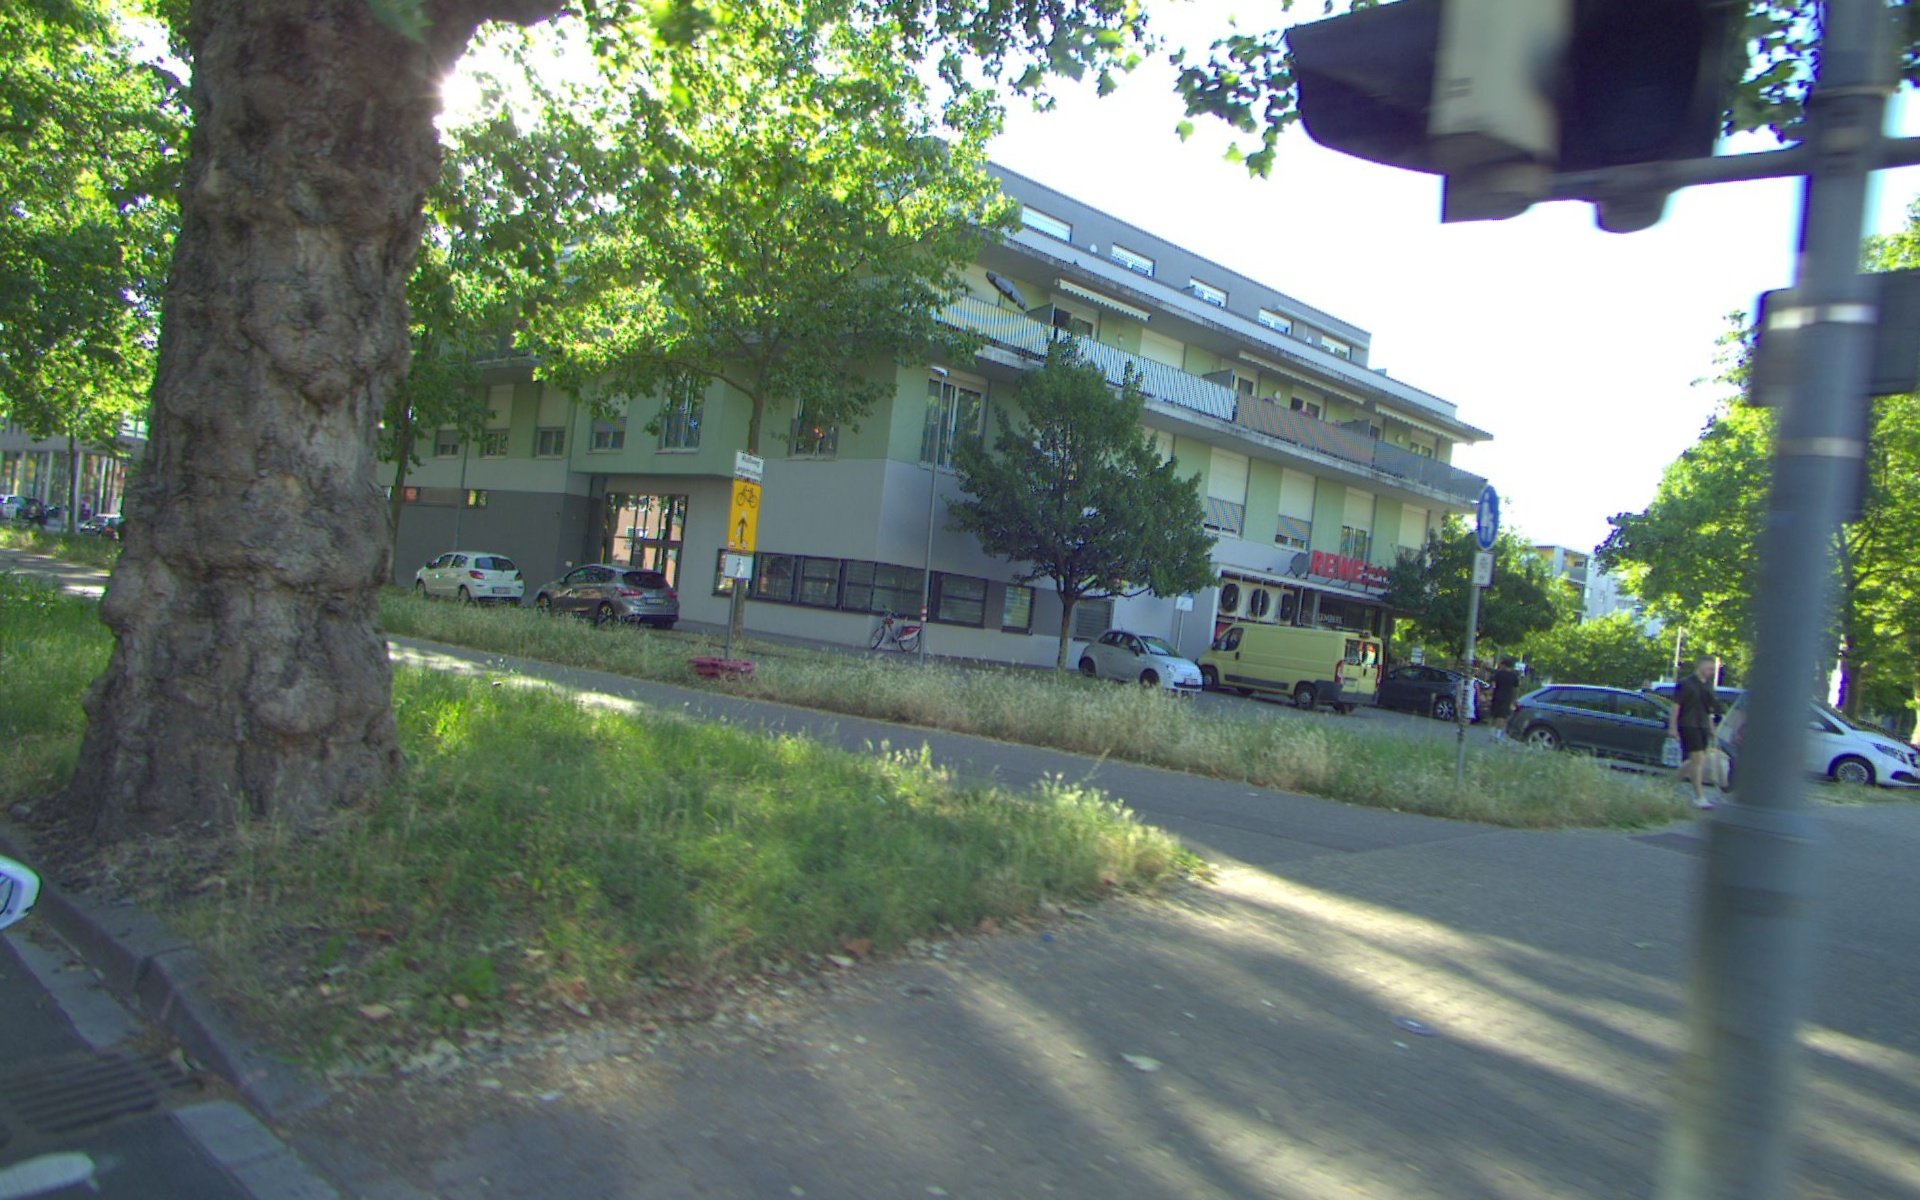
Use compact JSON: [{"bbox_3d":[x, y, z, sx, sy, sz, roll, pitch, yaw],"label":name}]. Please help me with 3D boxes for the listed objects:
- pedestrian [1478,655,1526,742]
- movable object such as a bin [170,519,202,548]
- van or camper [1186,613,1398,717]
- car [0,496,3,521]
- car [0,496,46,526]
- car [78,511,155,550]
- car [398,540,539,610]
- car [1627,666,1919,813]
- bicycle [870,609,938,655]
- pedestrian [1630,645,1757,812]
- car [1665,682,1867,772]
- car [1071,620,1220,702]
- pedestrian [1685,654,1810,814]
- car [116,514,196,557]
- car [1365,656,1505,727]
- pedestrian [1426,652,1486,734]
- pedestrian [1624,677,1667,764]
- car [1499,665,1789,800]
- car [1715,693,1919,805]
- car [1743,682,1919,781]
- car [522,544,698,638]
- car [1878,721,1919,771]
[{"bbox_3d":[12.203,2.209,22.640,0.676,1.832,0.961,7,0,35],"label":"pedestrian"},{"bbox_3d":[-43.697,-3.757,56.793,1.189,1.481,1.390,6,0,-42],"label":"movable object such as a bin"},{"bbox_3d":[9.405,1.791,28.983,2.244,2.274,5.319,7,0,-35],"label":"van or camper"},{"bbox_3d":[-68.699,-6.603,70.174,4.113,1.755,1.877,6,0,34],"label":"car"},{"bbox_3d":[-67.337,-6.370,71.890,4.114,1.755,1.987,6,0,35],"label":"car"},{"bbox_3d":[-41.898,-3.475,49.962,4.058,1.486,1.860,6,0,35],"label":"car"},{"bbox_3d":[-14.362,-0.740,29.324,4.254,1.561,1.859,6,0,37],"label":"car"},{"bbox_3d":[18.338,3.020,22.602,1.984,2.123,4.998,7,2,-37],"label":"car"},{"bbox_3d":[-1.477,0.859,26.771,1.665,1.030,0.583,7,0,-35],"label":"bicycle"},{"bbox_3d":[9.322,1.607,12.826,0.768,1.956,0.838,6,0,-7],"label":"pedestrian"},{"bbox_3d":[25.327,3.932,31.875,4.557,1.798,1.996,10,2,33],"label":"car"},{"bbox_3d":[4.800,1.572,26.435,1.662,1.473,3.520,7,2,-37],"label":"car"},{"bbox_3d":[10.176,1.706,13.028,0.789,1.903,0.784,6,0,-8],"label":"pedestrian"},{"bbox_3d":[-36.672,-2.955,45.874,3.702,1.572,1.859,6,0,37],"label":"car"},{"bbox_3d":[15.312,2.928,32.560,1.565,1.654,3.639,7,1,-37],"label":"car"},{"bbox_3d":[11.211,2.092,22.747,0.935,1.719,0.881,7,0,35],"label":"pedestrian"},{"bbox_3d":[14.567,2.557,21.369,0.557,1.772,0.526,7,-1,-42],"label":"pedestrian"},{"bbox_3d":[12.328,2.331,18.338,1.664,1.542,3.937,7,3,-42],"label":"car"},{"bbox_3d":[21.315,3.593,24.119,1.984,1.798,4.584,7,2,-37],"label":"car"},{"bbox_3d":[23.430,3.458,25.937,1.984,1.798,4.584,7,2,-37],"label":"car"},{"bbox_3d":[-8.647,-0.246,24.750,4.254,1.793,1.905,6,0,37],"label":"car"},{"bbox_3d":[39.434,5.994,39.773,4.034,1.819,2.002,5,-2,18],"label":"car"}]
